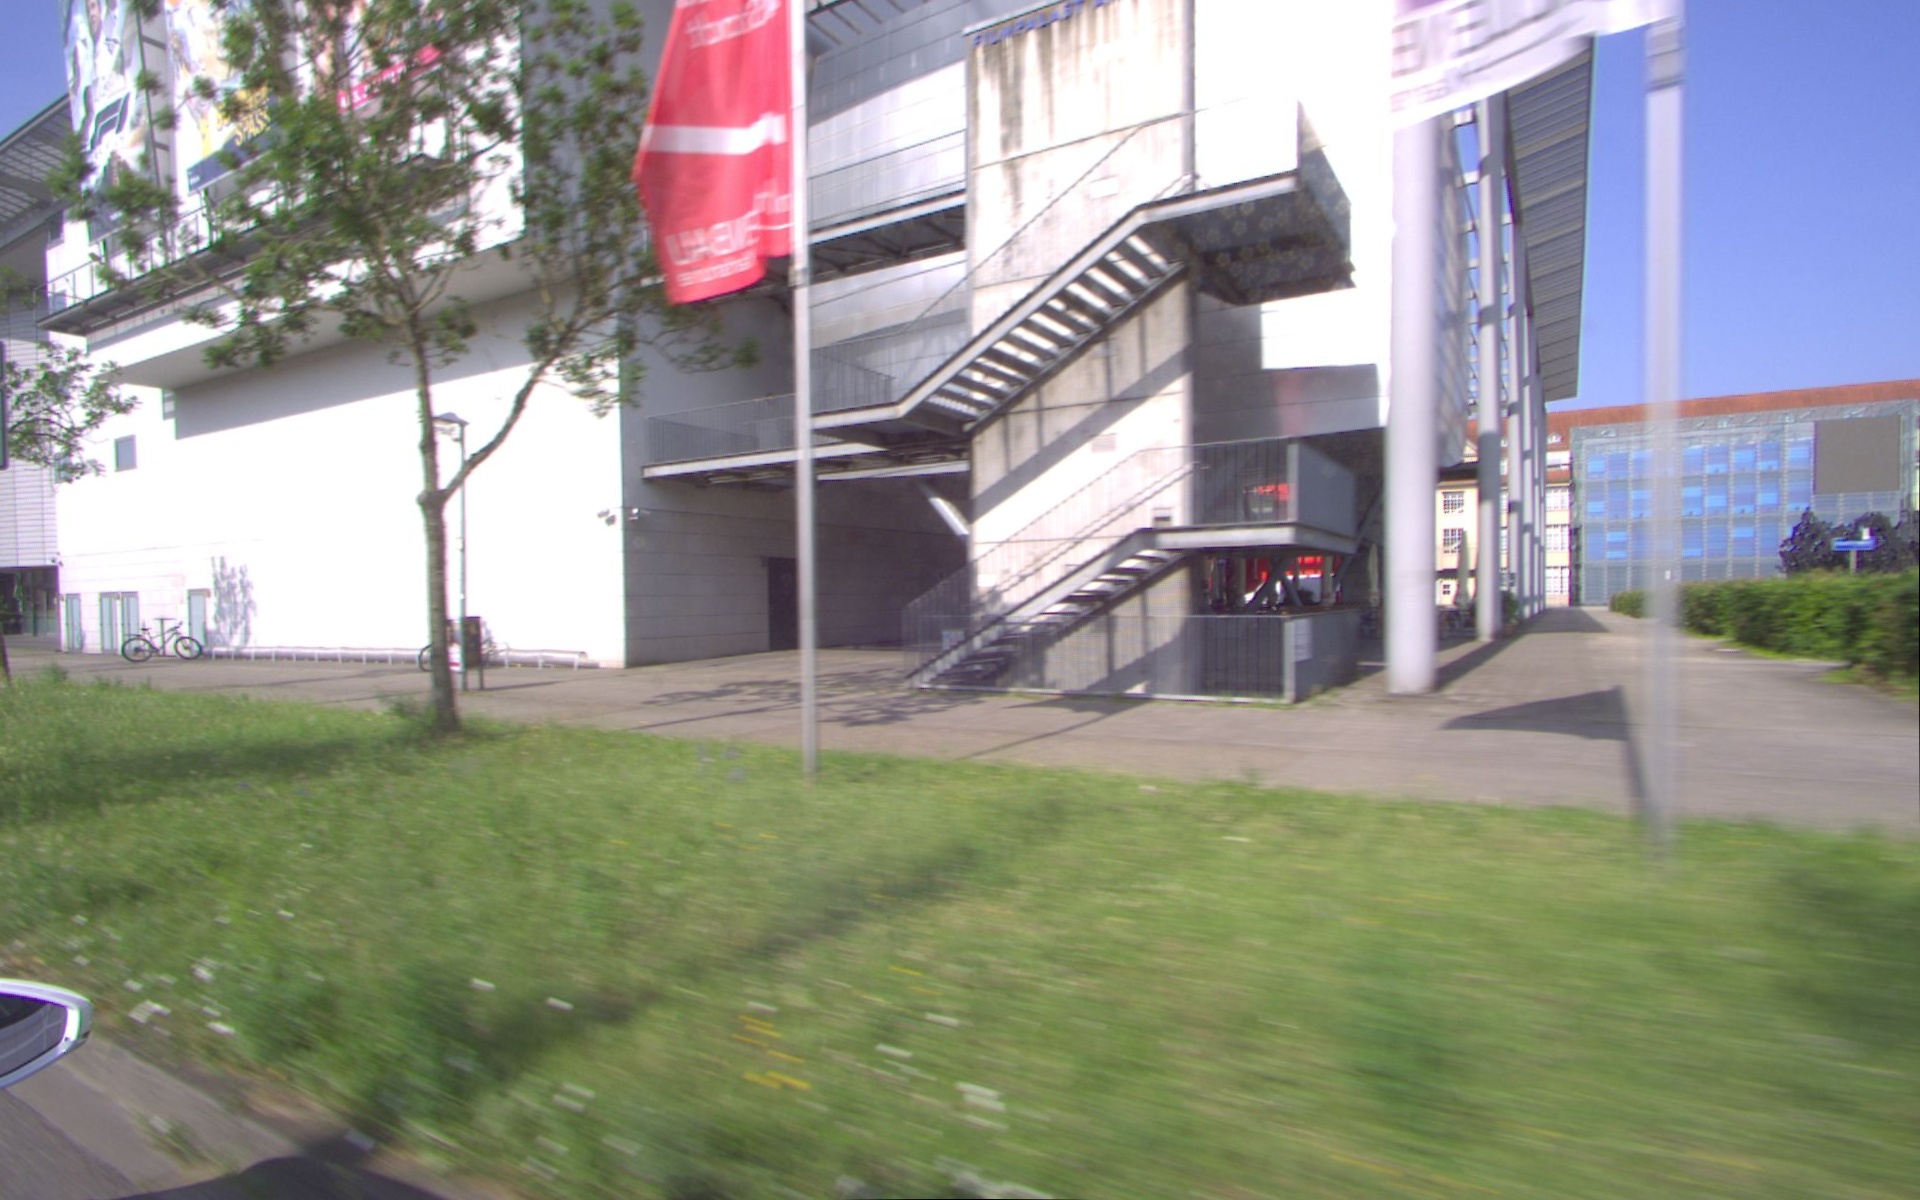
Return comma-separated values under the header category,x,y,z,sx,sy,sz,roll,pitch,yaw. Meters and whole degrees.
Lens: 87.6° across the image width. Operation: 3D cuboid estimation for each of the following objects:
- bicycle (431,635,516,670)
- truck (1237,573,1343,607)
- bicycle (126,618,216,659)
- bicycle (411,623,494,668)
category,x,y,z,sx,sy,sz,roll,pitch,yaw
bicycle,-10.770,1.150,22.207,0.530,0.653,1.653,0,1,32
truck,19.097,-0.579,58.047,5.608,1.877,1.991,0,1,29
bicycle,-23.596,1.137,29.974,0.666,1.117,2.002,0,1,36
bicycle,-11.414,1.017,22.586,0.475,0.927,1.653,0,1,32
